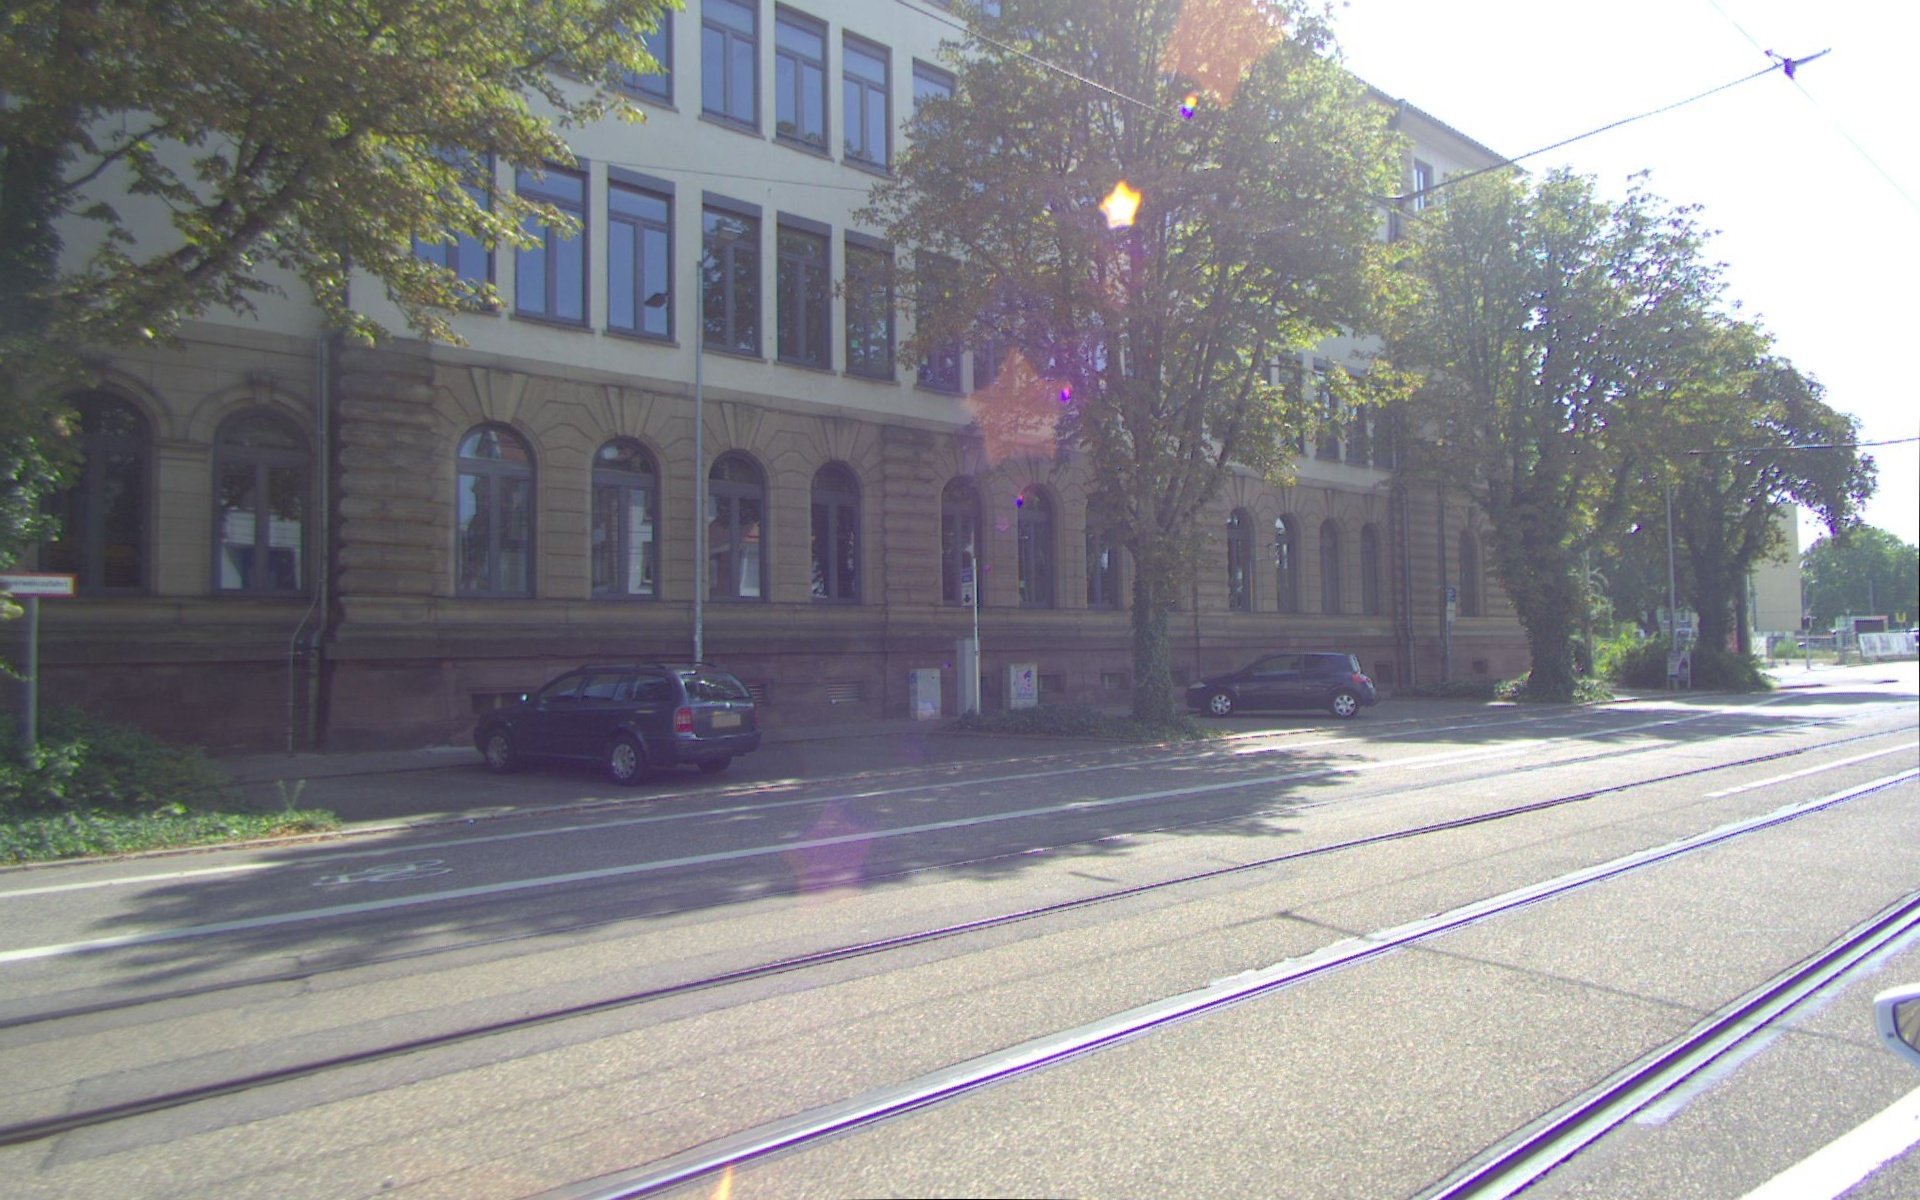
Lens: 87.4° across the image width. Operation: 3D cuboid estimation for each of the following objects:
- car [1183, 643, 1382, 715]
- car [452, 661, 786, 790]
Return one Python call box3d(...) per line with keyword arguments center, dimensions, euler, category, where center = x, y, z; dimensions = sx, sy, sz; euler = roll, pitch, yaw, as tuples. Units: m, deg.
box3d(center=(7.221, 1.783, 22.719), dimensions=(4.081, 1.515, 1.822), euler=(-2, -3, 17), category="car")
box3d(center=(-4.666, 1.588, 13.639), dimensions=(4.349, 1.481, 1.819), euler=(-2, -3, 28), category="car")
